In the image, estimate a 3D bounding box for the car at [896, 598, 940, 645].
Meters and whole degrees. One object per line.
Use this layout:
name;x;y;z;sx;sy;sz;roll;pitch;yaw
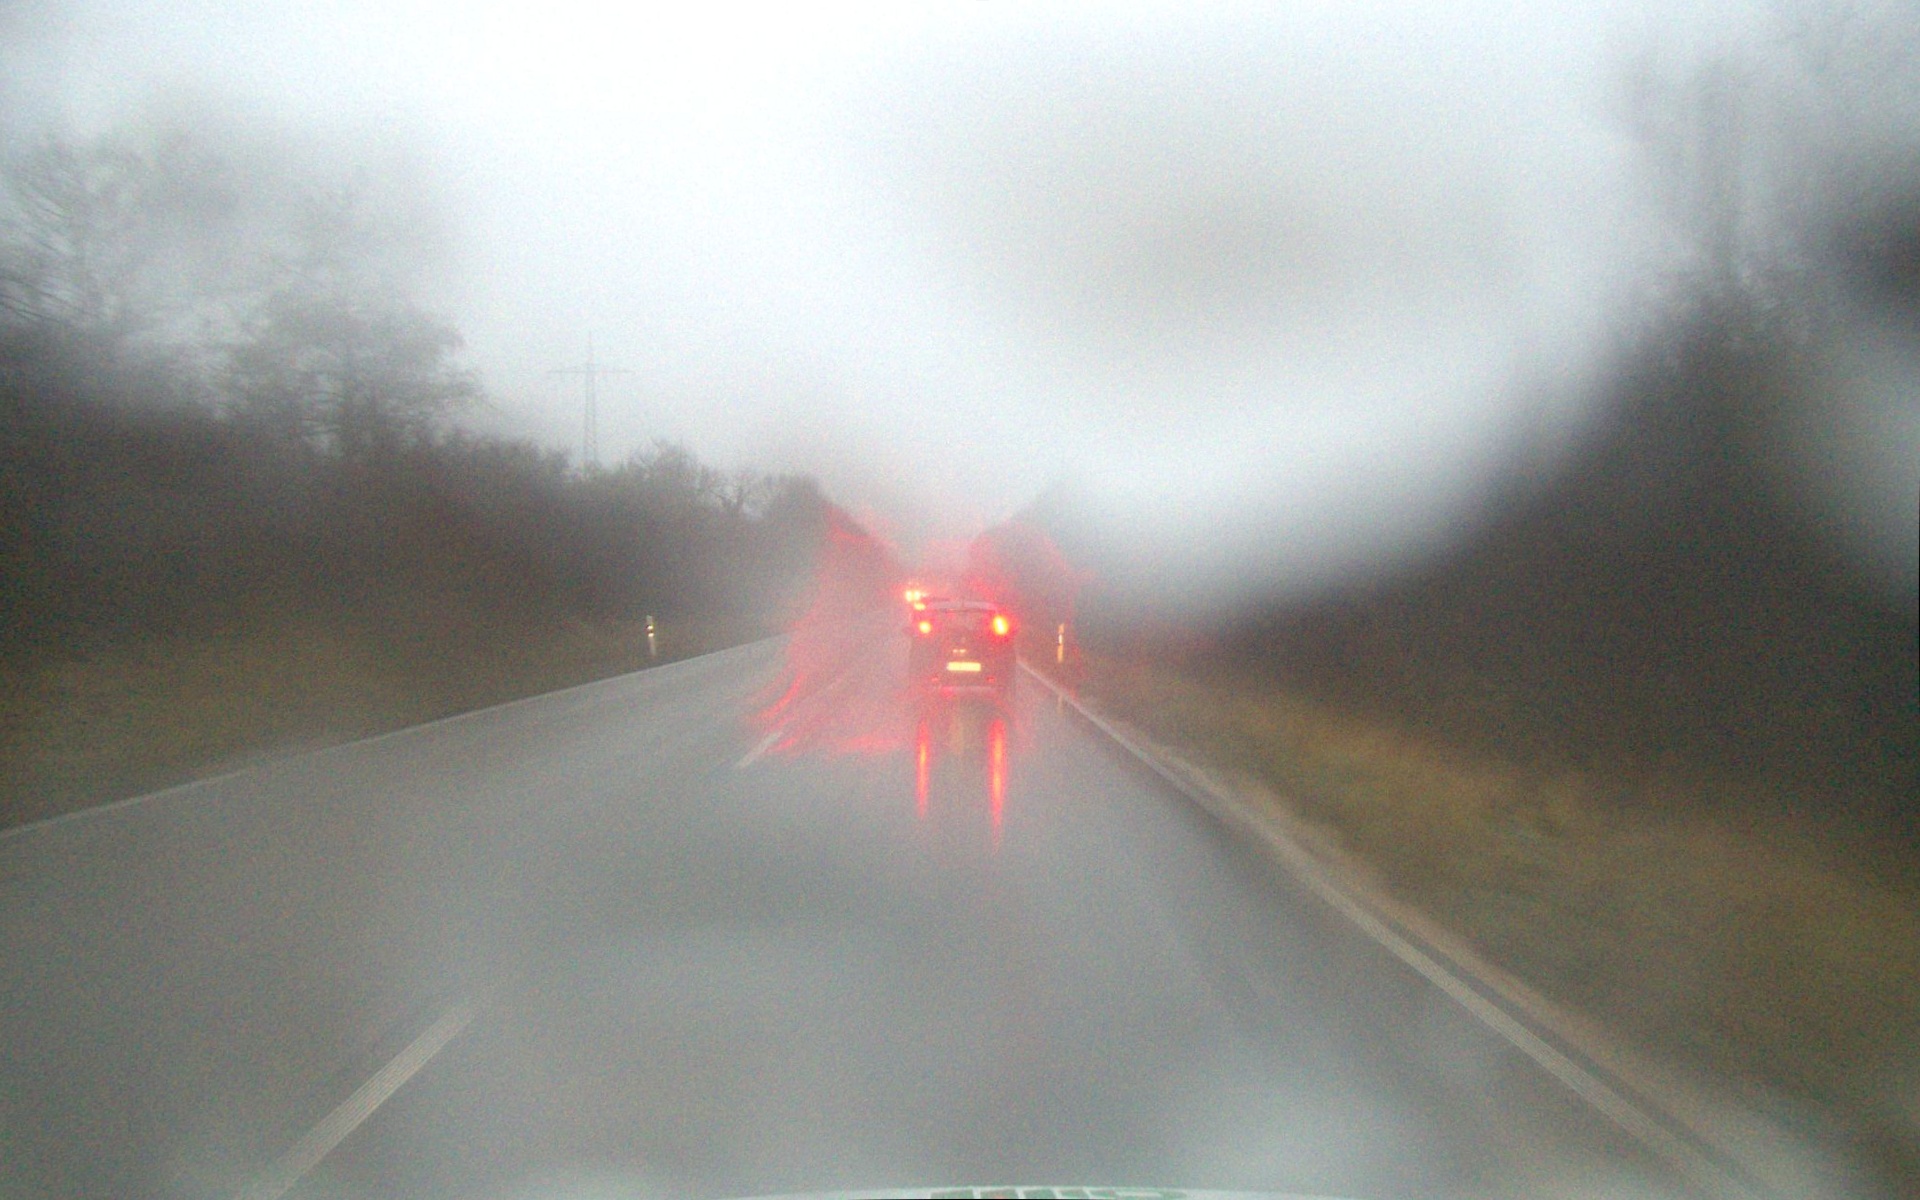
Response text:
car;-1.685;0.847;66.248;1.698;1.810;3.999;1;0;-1

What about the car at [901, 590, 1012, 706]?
car;-0.081;0.716;26.309;1.614;1.701;3.513;1;0;-1
